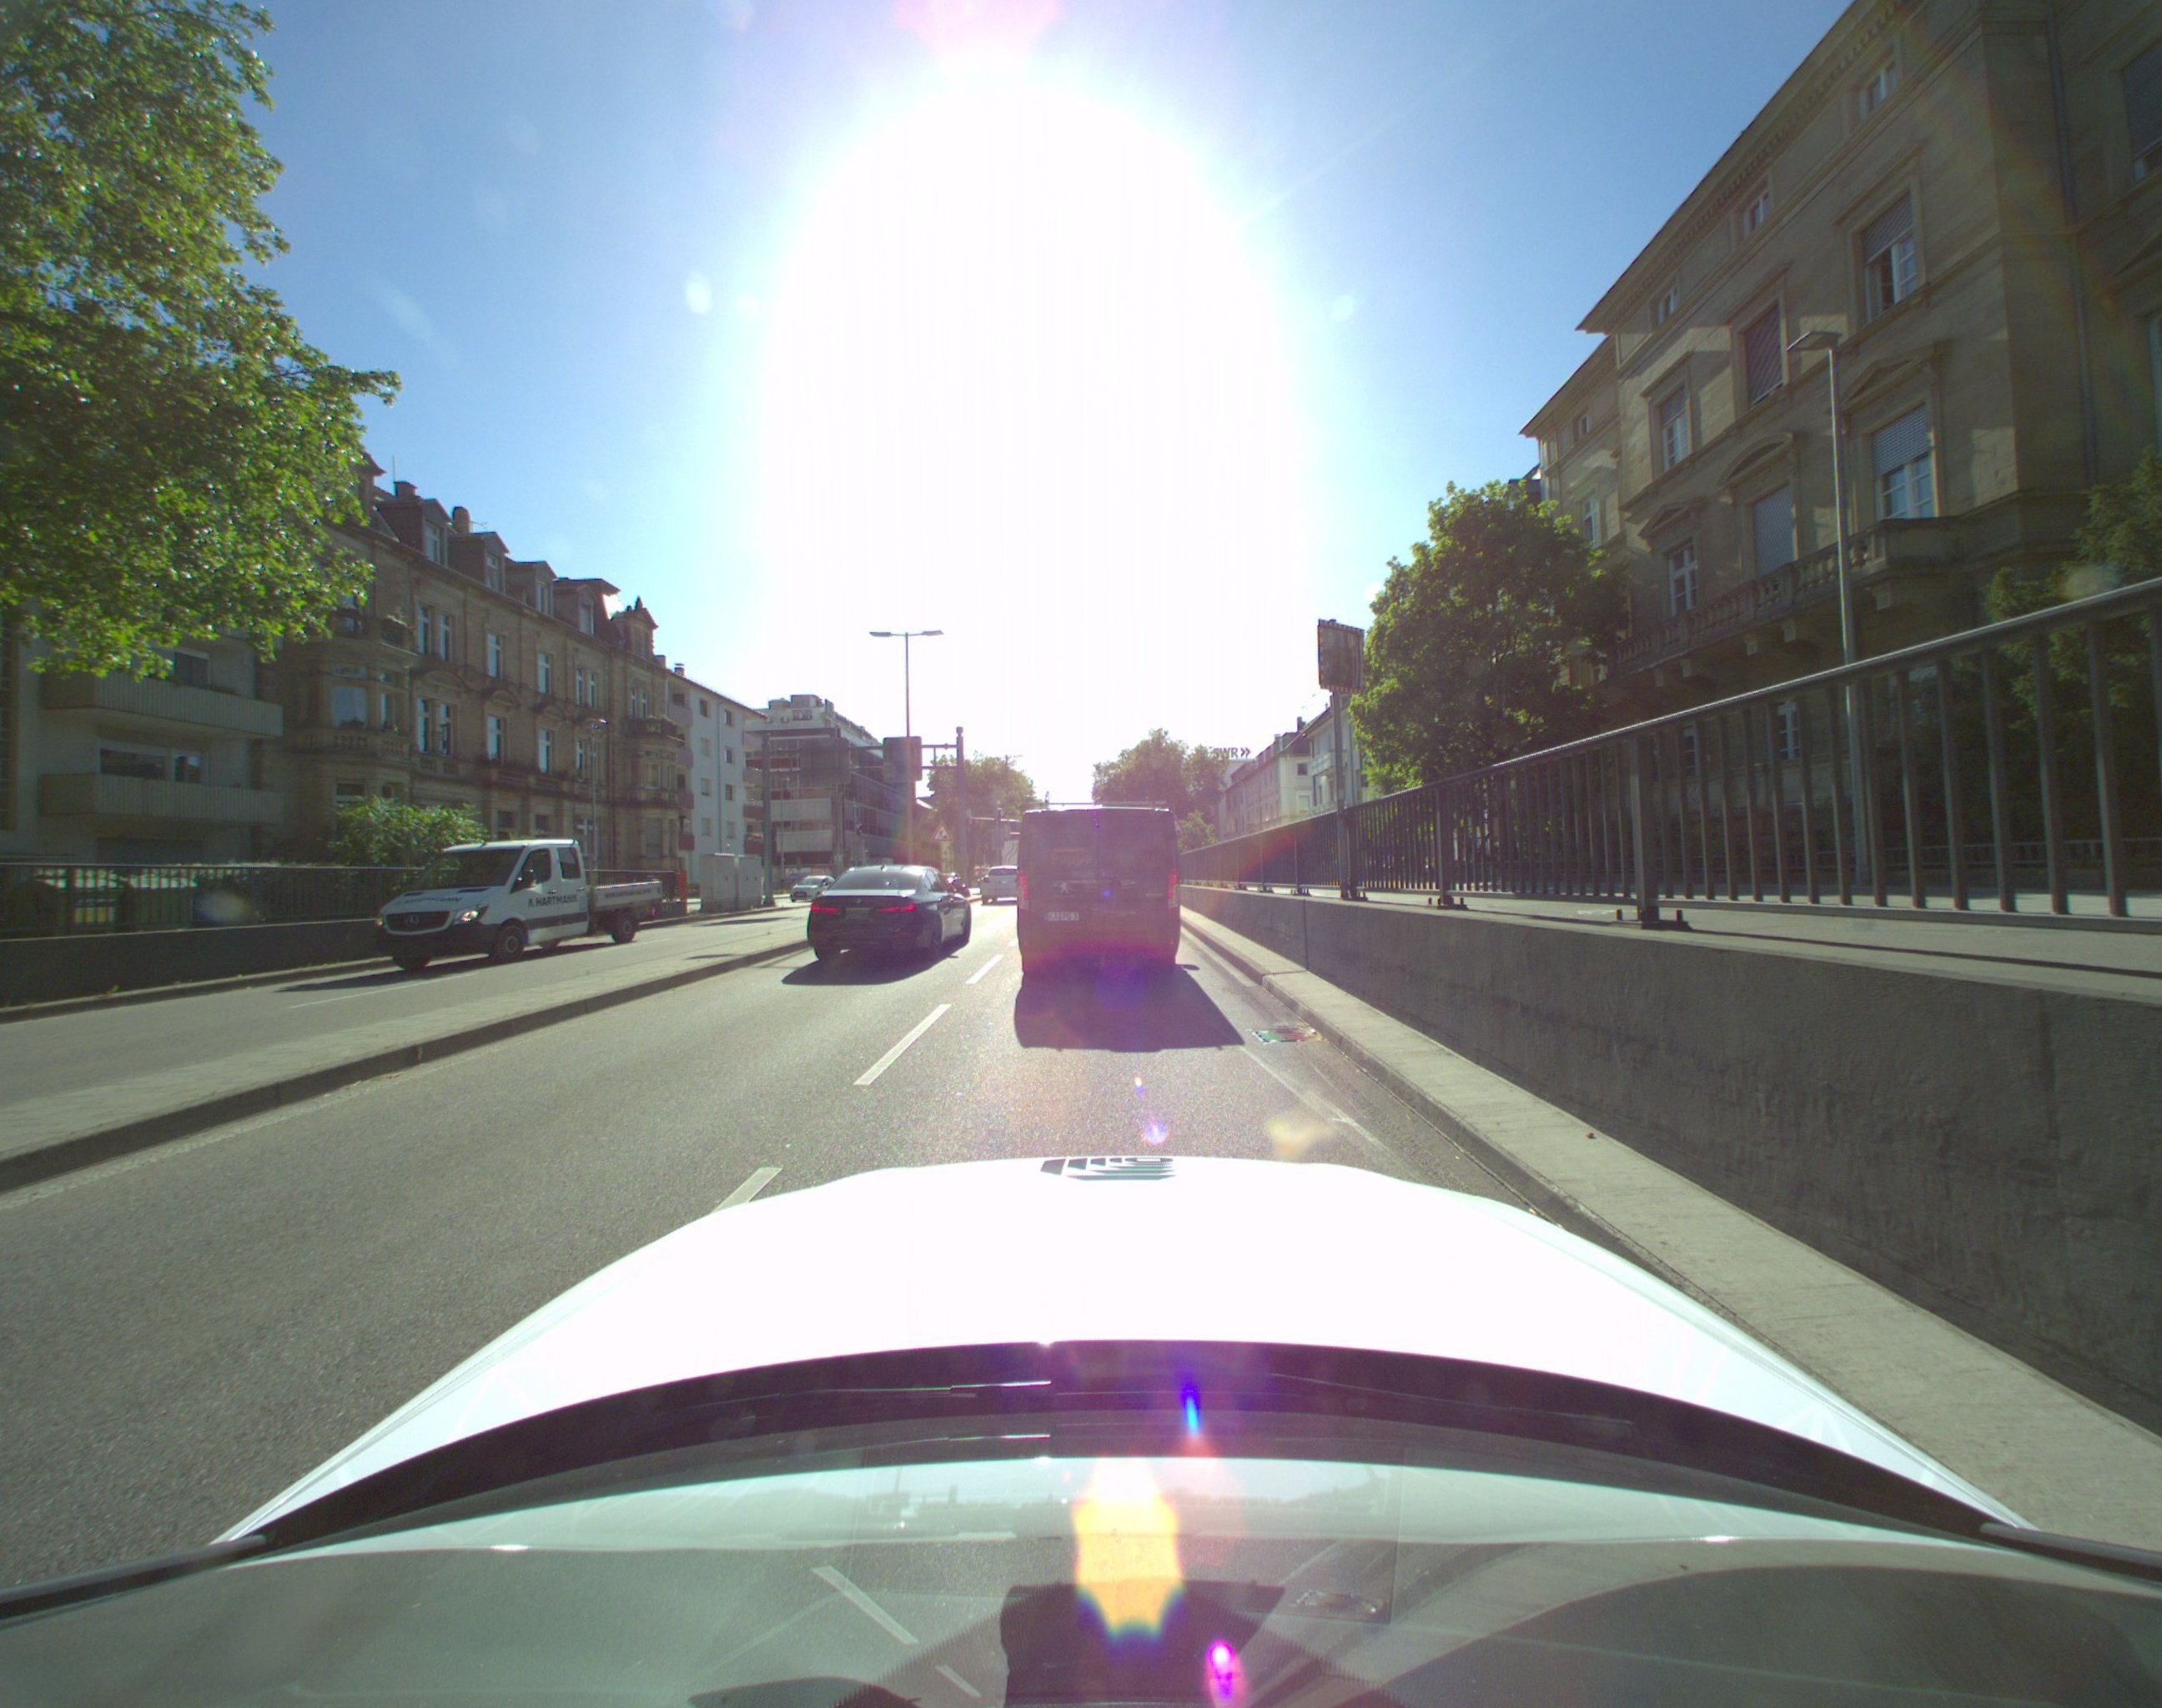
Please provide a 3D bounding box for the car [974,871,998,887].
[{"bbox_3d":[-9.574,2.495,82.443,1.929,1.555,3.924,0,-1,2],"label":"car"}]

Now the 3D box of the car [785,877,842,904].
[{"bbox_3d":[-15.461,2.105,47.244,1.667,1.410,3.623,-1,-1,7],"label":"car"}]

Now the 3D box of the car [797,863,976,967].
[{"bbox_3d":[-3.062,0.889,13.952,1.802,1.439,5.002,0,0,1],"label":"car"}]

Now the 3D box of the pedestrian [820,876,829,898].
[{"bbox_3d":[-22.695,2.927,71.966,0.659,1.896,0.720,0,-1,-12],"label":"pedestrian"}]

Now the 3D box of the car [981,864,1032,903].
[{"bbox_3d":[-2.893,1.135,32.326,1.613,1.403,3.852,0,0,1],"label":"car"}]

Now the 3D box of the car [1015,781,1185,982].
[{"bbox_3d":[0.271,0.363,11.837,2.023,2.402,3.973,-1,-1,1],"label":"car"}]

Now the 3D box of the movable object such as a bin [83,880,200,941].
[{"bbox_3d":[-22.935,1.361,19.917,1.274,1.402,1.325,0,-1,1],"label":"movable object such as a bin"}]

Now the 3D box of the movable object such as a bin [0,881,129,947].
[{"bbox_3d":[-23.111,1.340,18.549,1.274,1.402,1.301,0,-1,1],"label":"movable object such as a bin"}]

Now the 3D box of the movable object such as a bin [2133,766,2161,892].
[{"bbox_3d":[12.296,-0.347,8.319,1.449,1.324,1.402,-7,0,-16],"label":"movable object such as a bin"}]

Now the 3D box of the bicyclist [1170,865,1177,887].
[{"bbox_3d":[7.292,1.715,64.100,0.507,1.735,0.597,0,-1,1],"label":"bicyclist"}]

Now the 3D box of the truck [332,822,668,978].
[{"bbox_3d":[-11.342,0.750,16.784,2.220,2.527,6.132,-3,0,2],"label":"truck"}]

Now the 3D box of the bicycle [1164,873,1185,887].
[{"bbox_3d":[7.343,2.029,64.093,1.560,1.118,0.570,0,-1,0],"label":"bicycle"}]

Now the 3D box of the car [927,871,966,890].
[{"bbox_3d":[-11.246,2.189,68.331,1.923,1.555,3.936,0,-1,12],"label":"car"}]

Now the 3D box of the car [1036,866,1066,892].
[{"bbox_3d":[-1.860,1.529,50.744,1.683,1.483,3.319,0,0,1],"label":"car"}]
